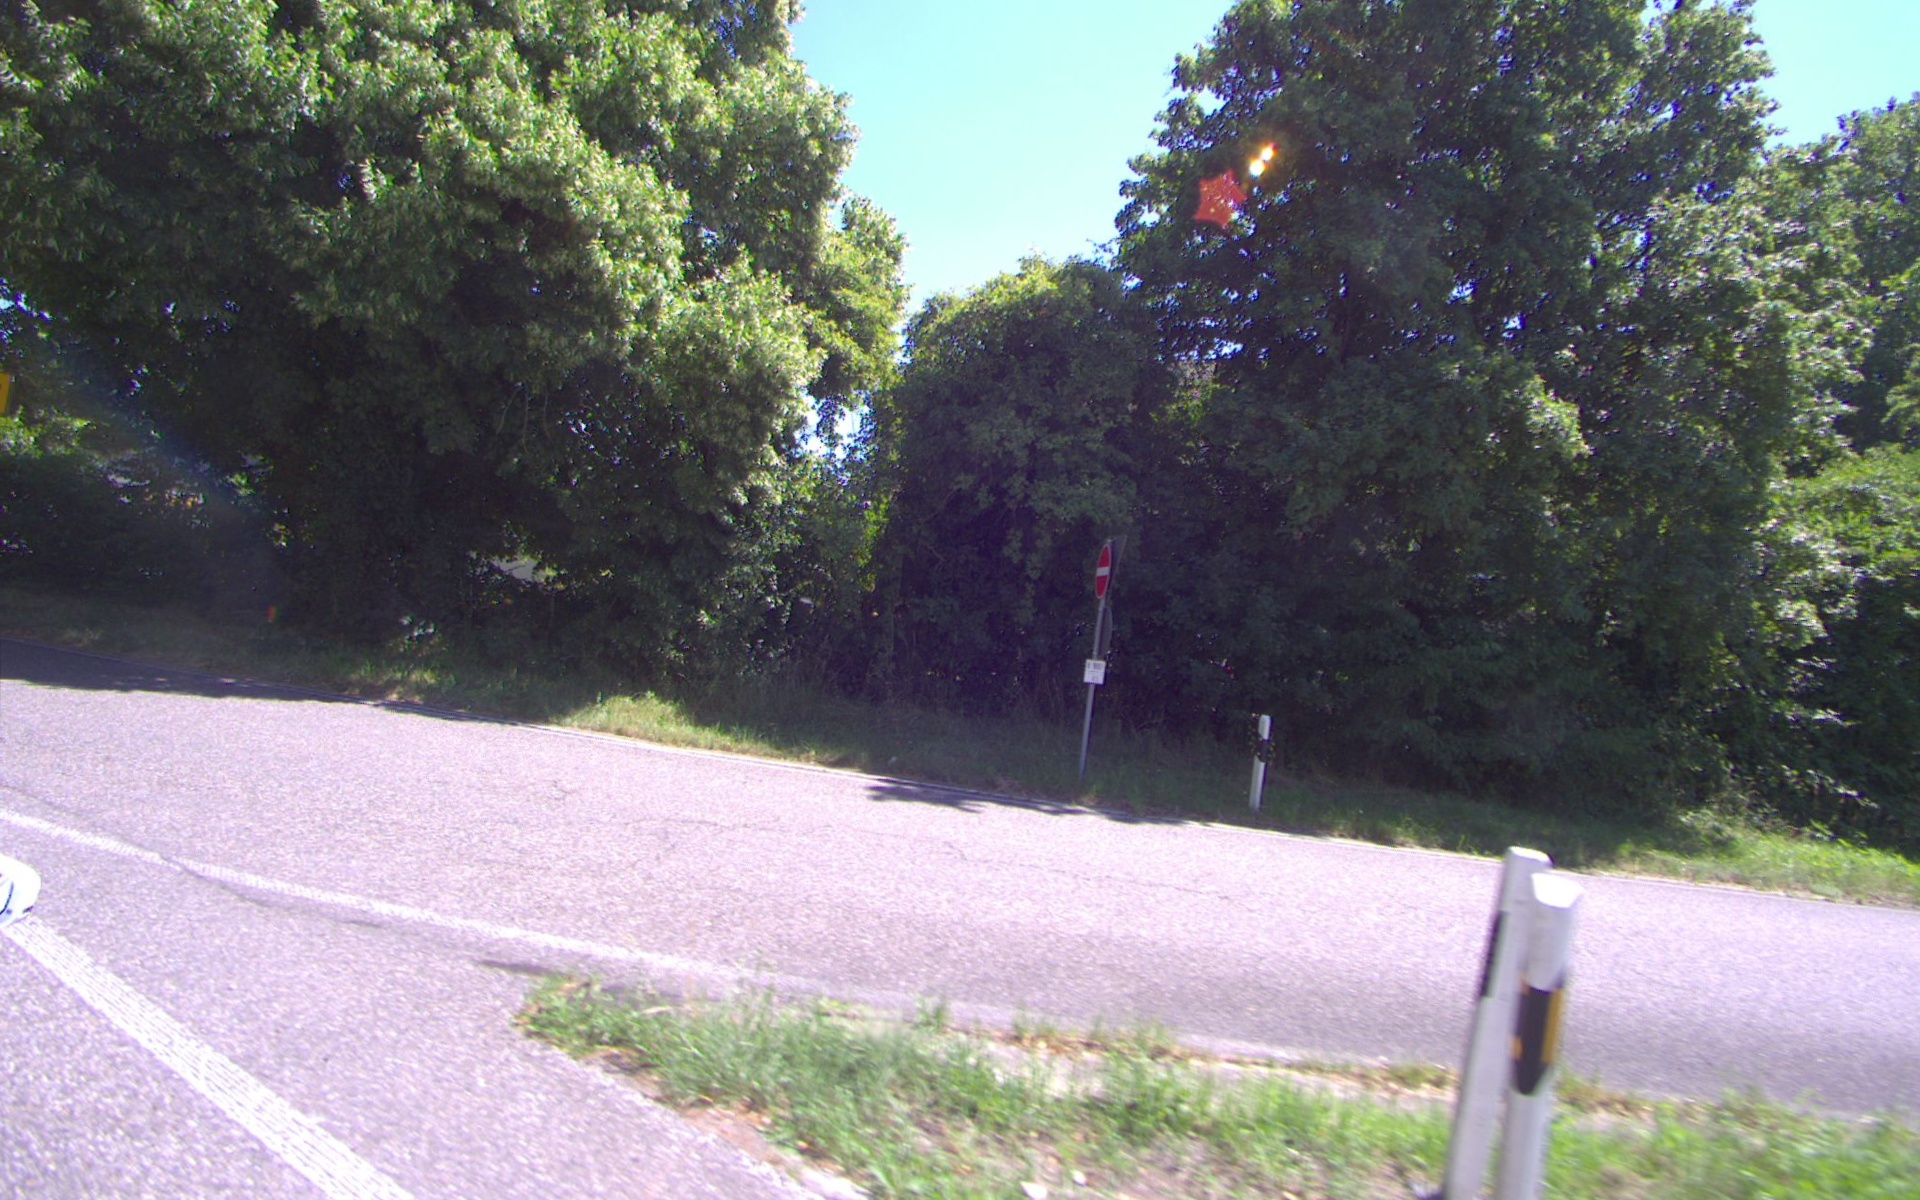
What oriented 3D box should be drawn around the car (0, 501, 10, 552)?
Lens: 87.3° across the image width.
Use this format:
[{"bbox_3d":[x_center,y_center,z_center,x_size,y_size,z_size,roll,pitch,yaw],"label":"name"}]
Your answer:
[{"bbox_3d":[-31.405,-2.571,30.045,1.767,1.582,3.944,7,-3,31],"label":"car"}]
